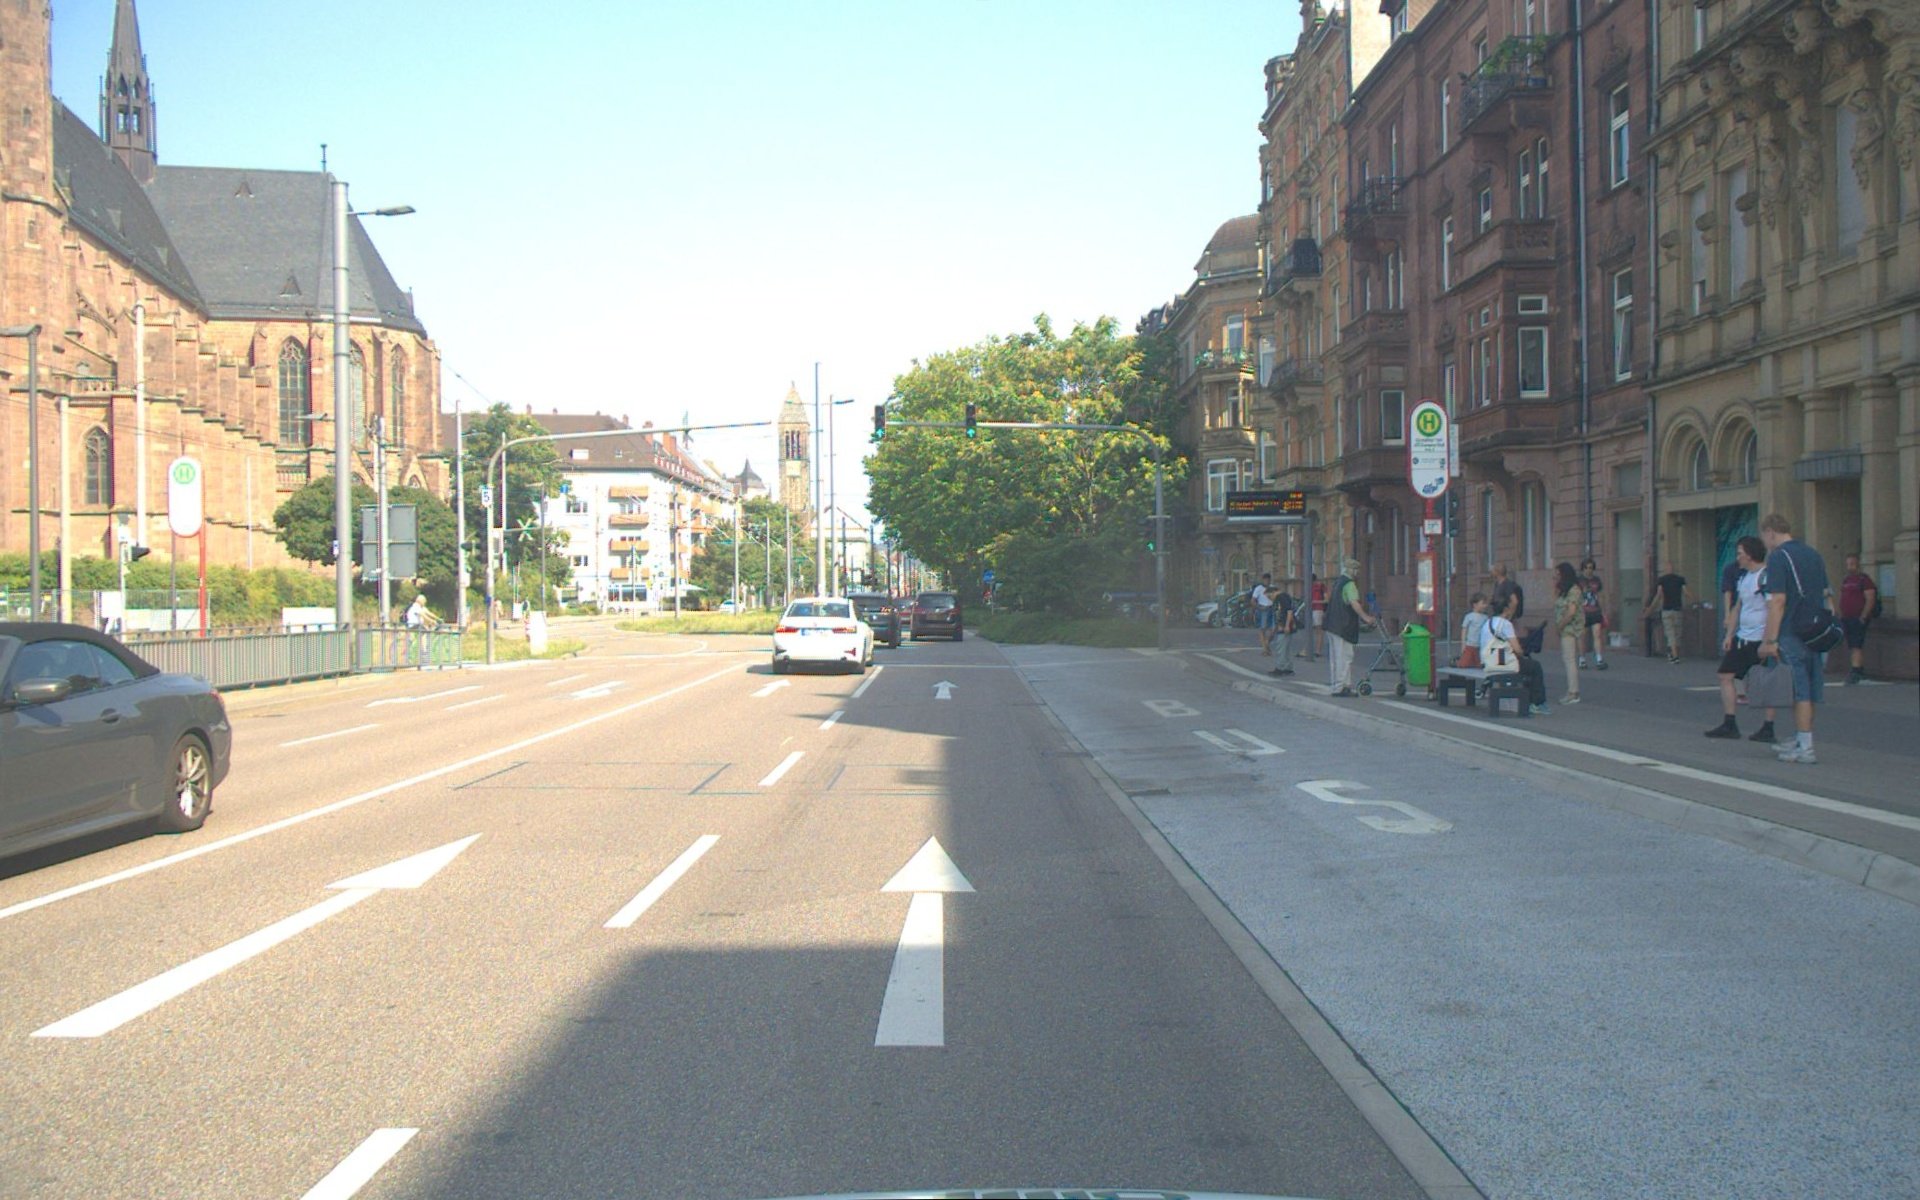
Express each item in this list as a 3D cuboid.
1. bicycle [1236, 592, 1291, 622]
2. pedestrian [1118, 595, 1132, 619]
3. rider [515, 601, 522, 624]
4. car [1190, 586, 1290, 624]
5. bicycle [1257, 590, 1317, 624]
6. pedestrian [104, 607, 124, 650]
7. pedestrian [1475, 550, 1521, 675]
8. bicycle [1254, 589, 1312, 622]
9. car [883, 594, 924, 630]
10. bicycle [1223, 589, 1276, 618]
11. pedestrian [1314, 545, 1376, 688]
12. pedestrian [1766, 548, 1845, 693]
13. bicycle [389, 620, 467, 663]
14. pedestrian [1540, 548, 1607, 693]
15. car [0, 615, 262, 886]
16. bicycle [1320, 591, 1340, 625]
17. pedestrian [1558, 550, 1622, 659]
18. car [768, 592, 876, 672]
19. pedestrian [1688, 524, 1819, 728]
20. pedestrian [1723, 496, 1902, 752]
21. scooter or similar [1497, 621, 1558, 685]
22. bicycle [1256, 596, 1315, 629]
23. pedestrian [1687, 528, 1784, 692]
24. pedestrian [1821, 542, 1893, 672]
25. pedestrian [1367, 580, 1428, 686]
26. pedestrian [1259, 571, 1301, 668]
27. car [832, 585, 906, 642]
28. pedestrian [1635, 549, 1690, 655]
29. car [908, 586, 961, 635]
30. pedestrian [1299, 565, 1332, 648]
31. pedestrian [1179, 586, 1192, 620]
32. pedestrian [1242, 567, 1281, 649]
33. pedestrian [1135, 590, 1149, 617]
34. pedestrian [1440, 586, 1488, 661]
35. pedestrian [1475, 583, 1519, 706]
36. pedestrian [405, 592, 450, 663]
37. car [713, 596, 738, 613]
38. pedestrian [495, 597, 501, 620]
[{"bbox_3d":[11.052,0.248,60.282,1.891,1.066,0.527,-1,0,-6],"label":"bicycle"},{"bbox_3d":[7.593,0.307,76.297,0.439,1.089,0.482,-1,0,-31],"label":"pedestrian"},{"bbox_3d":[-28.818,0.821,107.946,0.301,1.456,0.250,-1,0,28],"label":"rider"},{"bbox_3d":[12.598,0.212,74.596,4.098,1.590,1.998,-1,0,-5],"label":"car"},{"bbox_3d":[10.918,0.228,55.173,1.891,1.066,0.499,-1,0,-6],"label":"bicycle"},{"bbox_3d":[-31.974,1.064,62.511,0.532,1.603,0.659,-1,0,-20],"label":"pedestrian"},{"bbox_3d":[7.745,0.175,23.814,0.334,1.763,0.805,-1,0,-3],"label":"pedestrian"},{"bbox_3d":[11.038,0.178,56.559,1.891,1.066,0.499,-1,0,-6],"label":"bicycle"},{"bbox_3d":[-2.700,0.566,80.051,1.794,1.649,4.357,0,0,0],"label":"car"},{"bbox_3d":[11.084,0.143,63.300,1.891,1.066,0.527,-1,0,-6],"label":"bicycle"},{"bbox_3d":[4.858,0.204,20.888,0.553,1.759,0.745,-1,0,-3],"label":"pedestrian"},{"bbox_3d":[9.775,0.228,19.146,0.476,1.638,0.813,-1,0,1],"label":"pedestrian"},{"bbox_3d":[-13.048,1.007,40.569,1.723,0.995,0.479,-1,0,-2],"label":"bicycle"},{"bbox_3d":[7.601,0.252,20.520,0.553,1.759,0.617,-1,0,-3],"label":"pedestrian"},{"bbox_3d":[-5.799,0.825,9.450,1.678,1.354,4.520,-2,0,0],"label":"car"},{"bbox_3d":[11.941,0.251,53.431,0.407,1.066,1.671,-1,0,5],"label":"bicycle"},{"bbox_3d":[10.382,0.068,27.273,0.686,1.754,0.897,-1,0,0],"label":"pedestrian"},{"bbox_3d":[-2.711,0.583,33.466,1.772,1.452,4.774,1,0,0],"label":"car"},{"bbox_3d":[7.085,0.226,14.803,0.734,1.759,0.800,-1,0,-3],"label":"pedestrian"},{"bbox_3d":[6.471,0.173,12.593,0.907,1.863,0.800,-1,0,-4],"label":"pedestrian"},{"bbox_3d":[7.039,0.653,20.537,0.553,0.754,0.514,-1,0,-4],"label":"scooter or similar"},{"bbox_3d":[11.017,0.421,55.972,1.891,1.066,0.499,-1,0,-6],"label":"bicycle"},{"bbox_3d":[8.959,0.107,19.146,0.604,1.835,1.071,-1,0,1],"label":"pedestrian"},{"bbox_3d":[11.867,0.092,21.898,0.591,1.683,0.587,-1,0,-4],"label":"pedestrian"},{"bbox_3d":[5.502,0.407,20.819,0.553,1.300,0.597,-1,0,-4],"label":"pedestrian"},{"bbox_3d":[5.494,0.328,28.393,0.517,1.640,0.702,-1,0,-3],"label":"pedestrian"},{"bbox_3d":[-2.692,0.371,49.784,1.952,1.649,4.357,0,0,0],"label":"car"},{"bbox_3d":[11.886,0.032,28.007,0.616,1.749,0.691,-1,0,0],"label":"pedestrian"},{"bbox_3d":[-0.858,0.336,58.009,1.794,1.649,4.357,0,0,0],"label":"car"},{"bbox_3d":[7.452,0.133,34.693,0.471,1.731,0.702,-1,0,-3],"label":"pedestrian"},{"bbox_3d":[10.464,0.132,76.757,0.435,1.532,0.486,-1,0,-6],"label":"pedestrian"},{"bbox_3d":[6.345,0.160,34.850,0.676,1.693,0.619,-1,0,0],"label":"pedestrian"},{"bbox_3d":[8.675,0.144,78.912,0.585,1.270,0.506,-1,0,-1],"label":"pedestrian"},{"bbox_3d":[5.713,0.261,18.762,0.297,0.834,0.603,-1,0,-7],"label":"pedestrian"},{"bbox_3d":[5.761,0.470,17.760,0.270,1.296,0.447,-1,0,-7],"label":"pedestrian"},{"bbox_3d":[-13.054,0.657,40.555,0.898,1.709,0.602,-1,0,-2],"label":"pedestrian"},{"bbox_3d":[-22.637,0.450,159.618,1.953,1.526,3.998,-1,0,-2],"label":"car"},{"bbox_3d":[-30.994,0.589,111.021,0.298,1.544,0.340,-1,0,-4],"label":"pedestrian"}]
